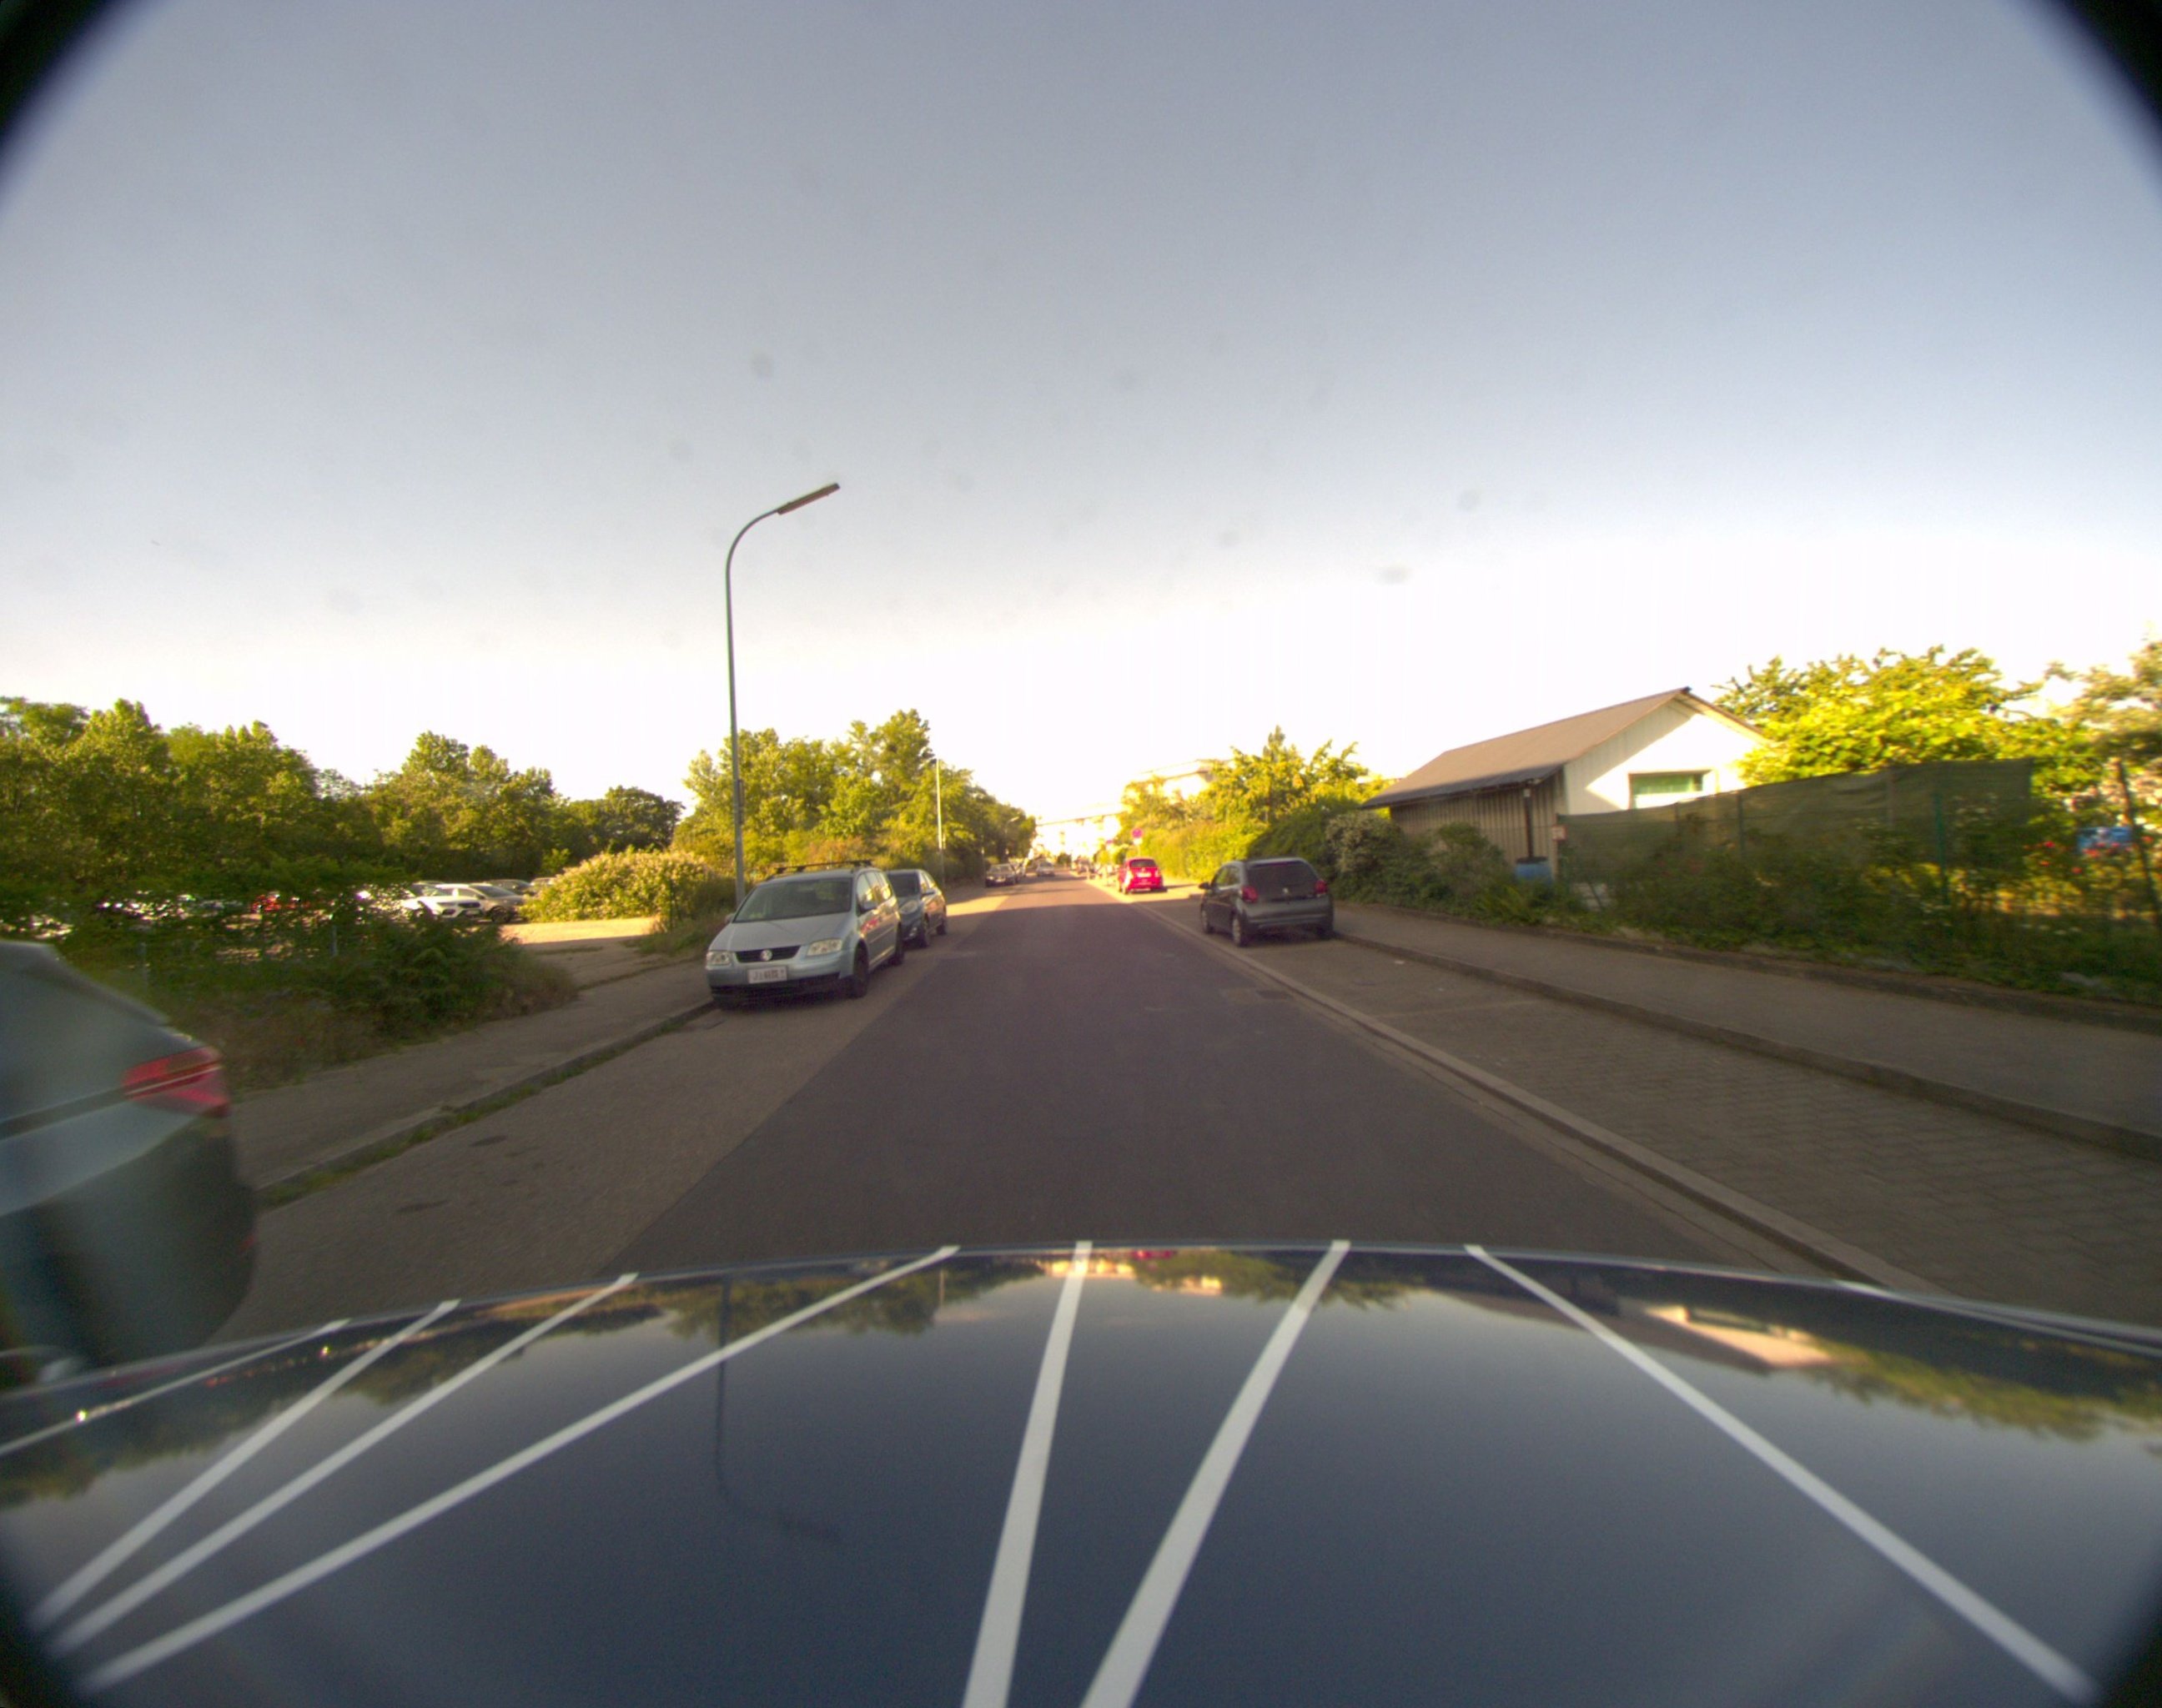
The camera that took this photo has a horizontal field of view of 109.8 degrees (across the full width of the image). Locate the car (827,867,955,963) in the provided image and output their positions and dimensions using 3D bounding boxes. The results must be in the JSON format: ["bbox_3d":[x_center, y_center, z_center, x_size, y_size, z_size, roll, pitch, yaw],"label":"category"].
[{"bbox_3d":[-3.768,1.142,15.759,1.627,1.517,3.901,-5,0,-1],"label":"car"}]

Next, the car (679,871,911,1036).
[{"bbox_3d":[-3.622,1.143,10.494,1.681,1.599,4.177,-5,0,-3],"label":"car"}]

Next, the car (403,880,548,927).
[{"bbox_3d":[-22.102,1.788,27.816,3.887,1.430,1.688,-2,0,0],"label":"car"}]

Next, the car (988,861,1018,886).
[{"bbox_3d":[-5.222,1.285,51.389,1.759,1.405,4.654,-5,0,-3],"label":"car"}]

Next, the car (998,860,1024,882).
[{"bbox_3d":[-5.270,1.287,57.729,1.659,1.436,4.655,-5,0,-3],"label":"car"}]

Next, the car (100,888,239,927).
[{"bbox_3d":[-39.102,2.272,32.669,3.887,1.457,1.688,-1,0,0],"label":"car"}]

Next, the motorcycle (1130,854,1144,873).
[{"bbox_3d":[3.939,0.678,53.408,0.568,1.261,2.090,-4,1,-6],"label":"motorcycle"}]

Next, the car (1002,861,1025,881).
[{"bbox_3d":[-5.588,1.397,63.382,1.659,1.477,3.837,-5,0,-3],"label":"car"}]

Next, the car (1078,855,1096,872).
[{"bbox_3d":[0.584,0.951,77.818,1.648,1.547,4.416,-2,0,-2],"label":"car"}]

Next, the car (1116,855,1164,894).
[{"bbox_3d":[2.447,0.831,32.121,1.564,1.486,3.569,-2,0,-2],"label":"car"}]

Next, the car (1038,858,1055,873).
[{"bbox_3d":[-3.444,1.143,75.683,1.597,1.417,4.170,0,0,-1],"label":"car"}]

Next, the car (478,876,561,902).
[{"bbox_3d":[-35.615,2.214,48.255,3.887,1.390,1.839,-2,0,0],"label":"car"}]

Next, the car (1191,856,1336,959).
[{"bbox_3d":[3.182,0.857,13.940,1.564,1.486,3.569,-5,0,-2],"label":"car"}]

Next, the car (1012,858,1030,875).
[{"bbox_3d":[-6.207,1.273,78.508,1.560,1.529,3.555,-5,0,-2],"label":"car"}]

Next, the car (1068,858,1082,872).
[{"bbox_3d":[-0.749,1.379,96.598,1.648,1.590,4.311,-4,0,0],"label":"car"}]

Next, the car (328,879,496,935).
[{"bbox_3d":[-22.062,1.727,25.167,3.916,1.578,1.755,-2,0,0],"label":"car"}]
